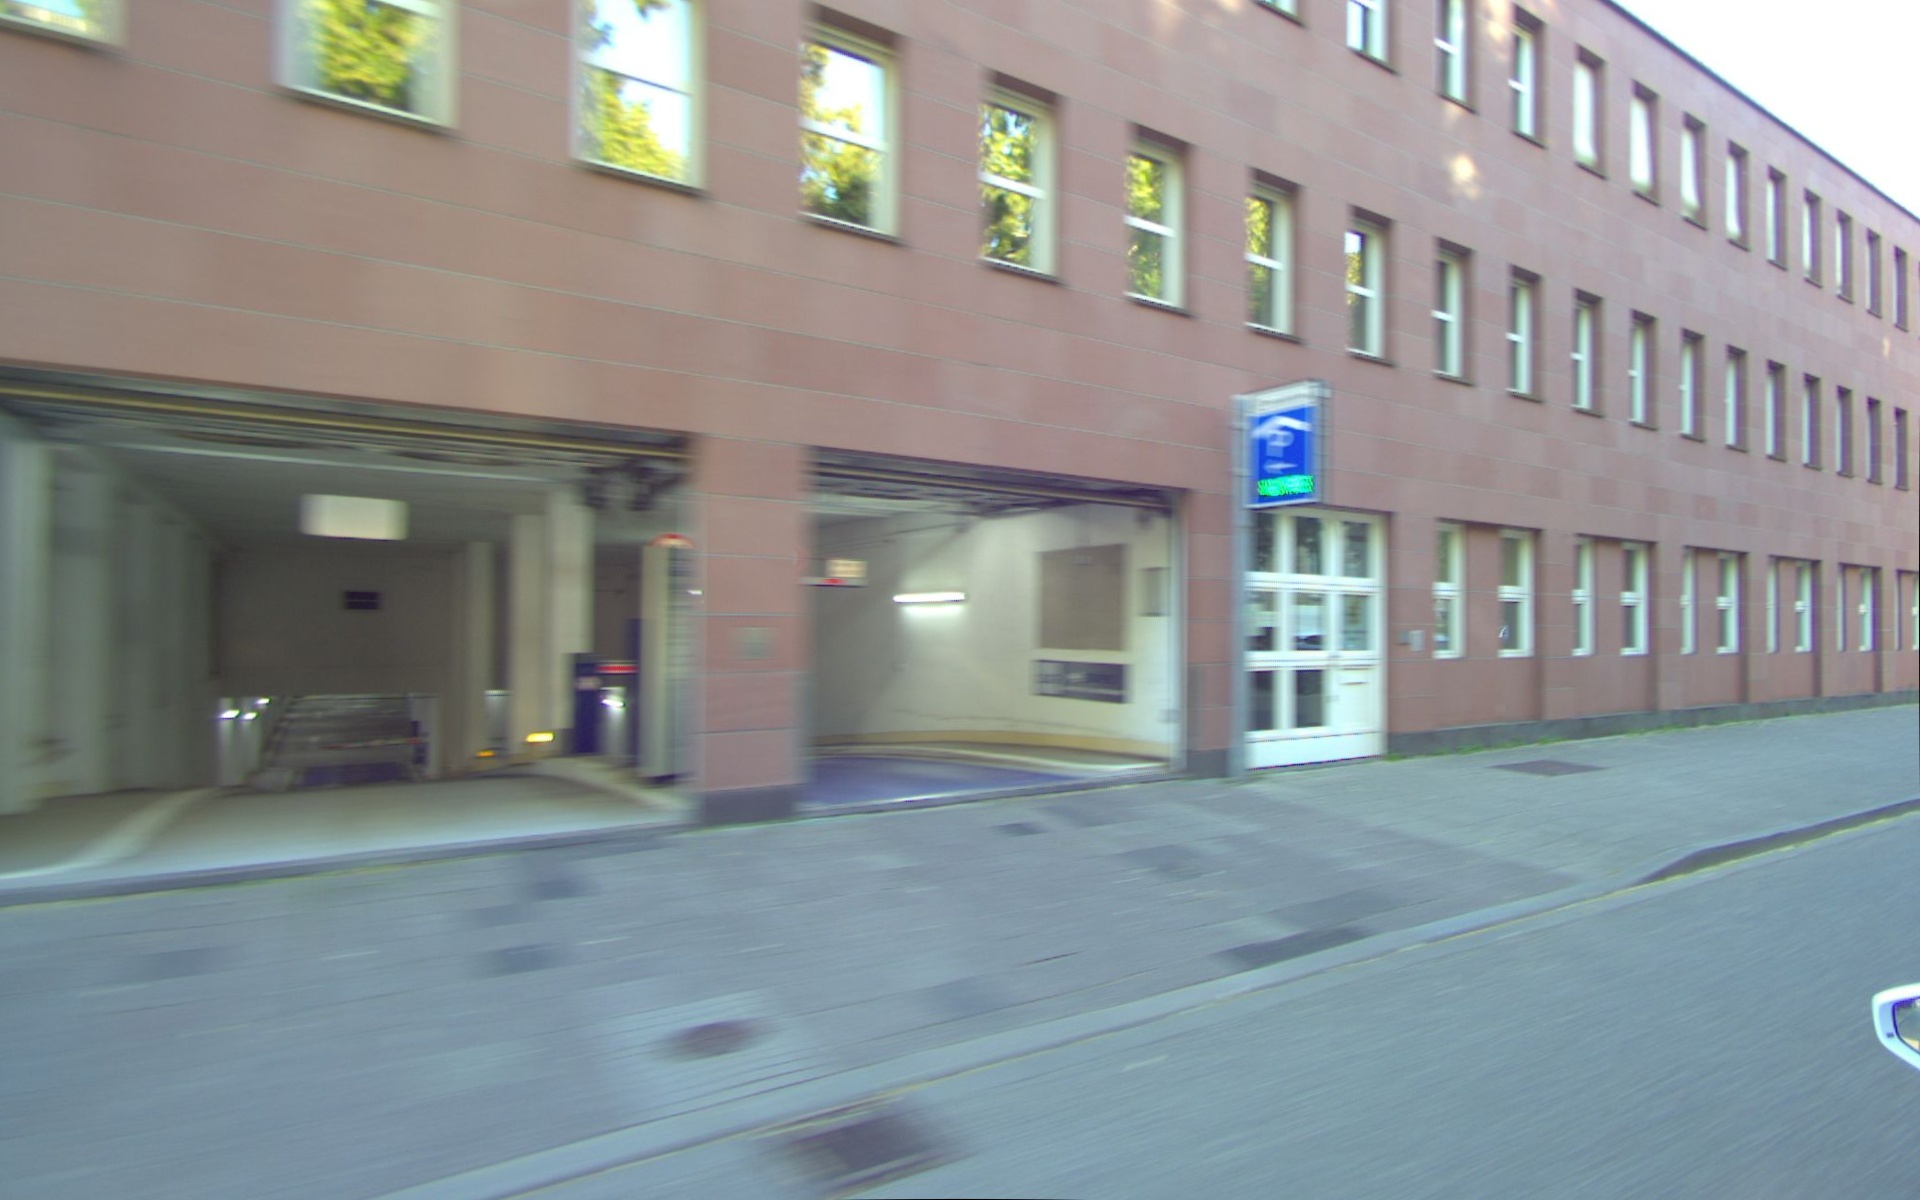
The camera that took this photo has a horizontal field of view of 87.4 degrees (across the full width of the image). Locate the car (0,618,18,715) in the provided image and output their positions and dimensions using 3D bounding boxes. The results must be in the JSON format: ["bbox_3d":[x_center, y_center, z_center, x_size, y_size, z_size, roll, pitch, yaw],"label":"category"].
[{"bbox_3d":[-14.073,0.931,12.836,1.979,1.430,5.063,3,-2,-32],"label":"car"}]
